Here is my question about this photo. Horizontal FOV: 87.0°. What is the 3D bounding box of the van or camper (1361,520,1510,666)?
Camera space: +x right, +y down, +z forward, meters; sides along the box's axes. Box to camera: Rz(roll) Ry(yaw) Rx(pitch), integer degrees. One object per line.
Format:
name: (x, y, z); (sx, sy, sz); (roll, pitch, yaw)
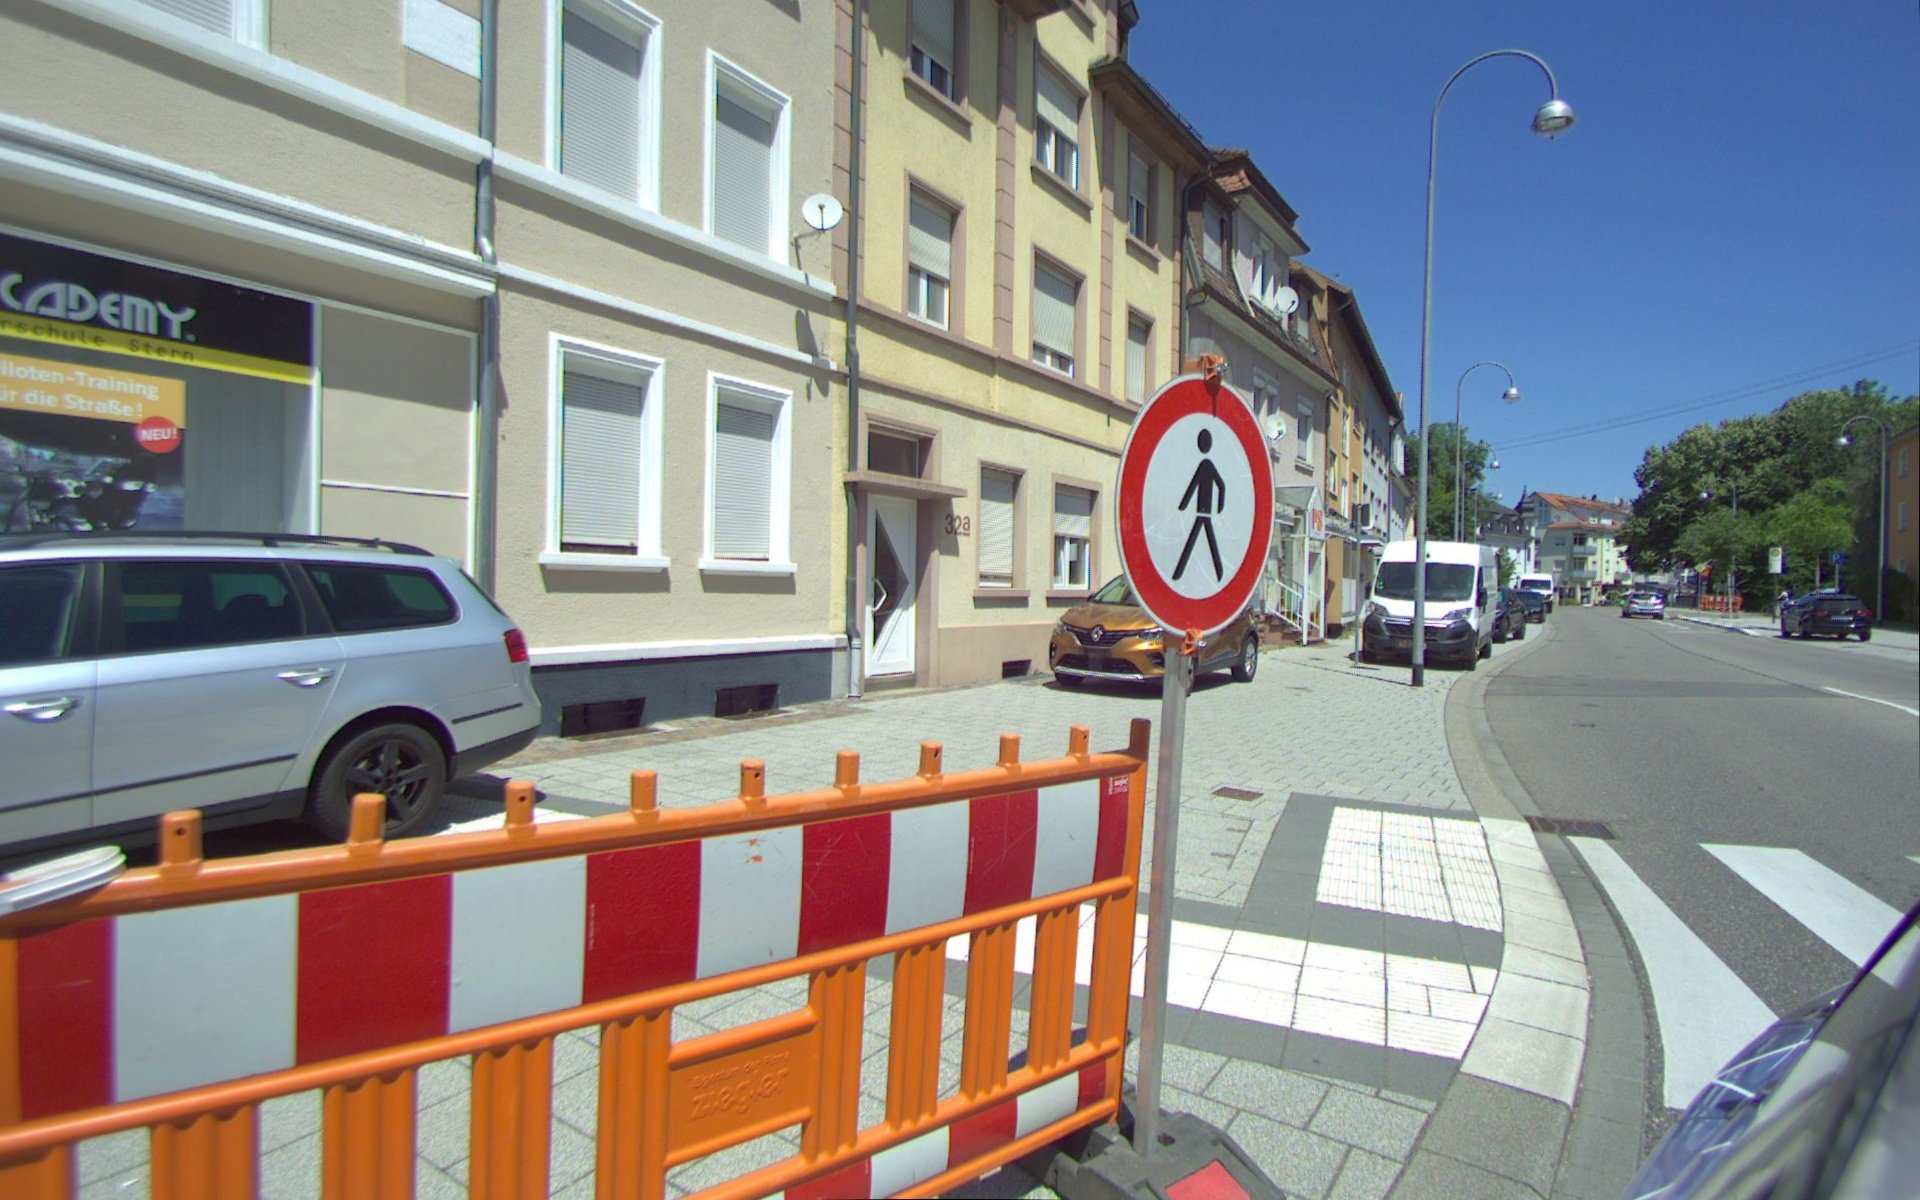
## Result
van or camper: (10.052, -0.197, 21.101); (2.155, 2.621, 5.701); (2, 2, 31)

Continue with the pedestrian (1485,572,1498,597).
pedestrian: (37.568, -1.094, 71.527); (0.513, 1.727, 0.802); (4, 2, 10)

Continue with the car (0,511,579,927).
car: (-4.194, 0.409, 4.406); (1.757, 1.549, 4.636); (2, 2, 32)

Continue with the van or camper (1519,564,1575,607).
van or camper: (36.338, -0.906, 62.854); (2.090, 2.498, 6.132); (-1, 1, 22)

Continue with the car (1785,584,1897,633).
car: (29.409, 0.270, 33.930); (1.846, 1.526, 4.516); (-1, 0, 29)

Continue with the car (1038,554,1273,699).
car: (2.864, 0.265, 13.995); (1.666, 1.639, 4.312); (4, 2, 33)

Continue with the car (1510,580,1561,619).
car: (26.869, -0.054, 47.181); (1.723, 1.653, 3.951); (4, 2, 34)

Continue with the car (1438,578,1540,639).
car: (15.966, 0.190, 30.450); (1.892, 1.627, 4.303); (3, 3, 39)

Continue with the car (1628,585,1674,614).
car: (37.863, -0.080, 55.506); (1.650, 1.515, 3.722); (1, 1, 28)

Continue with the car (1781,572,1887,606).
car: (52.854, -0.675, 61.301); (4.384, 1.897, 1.807); (2, 1, 21)
